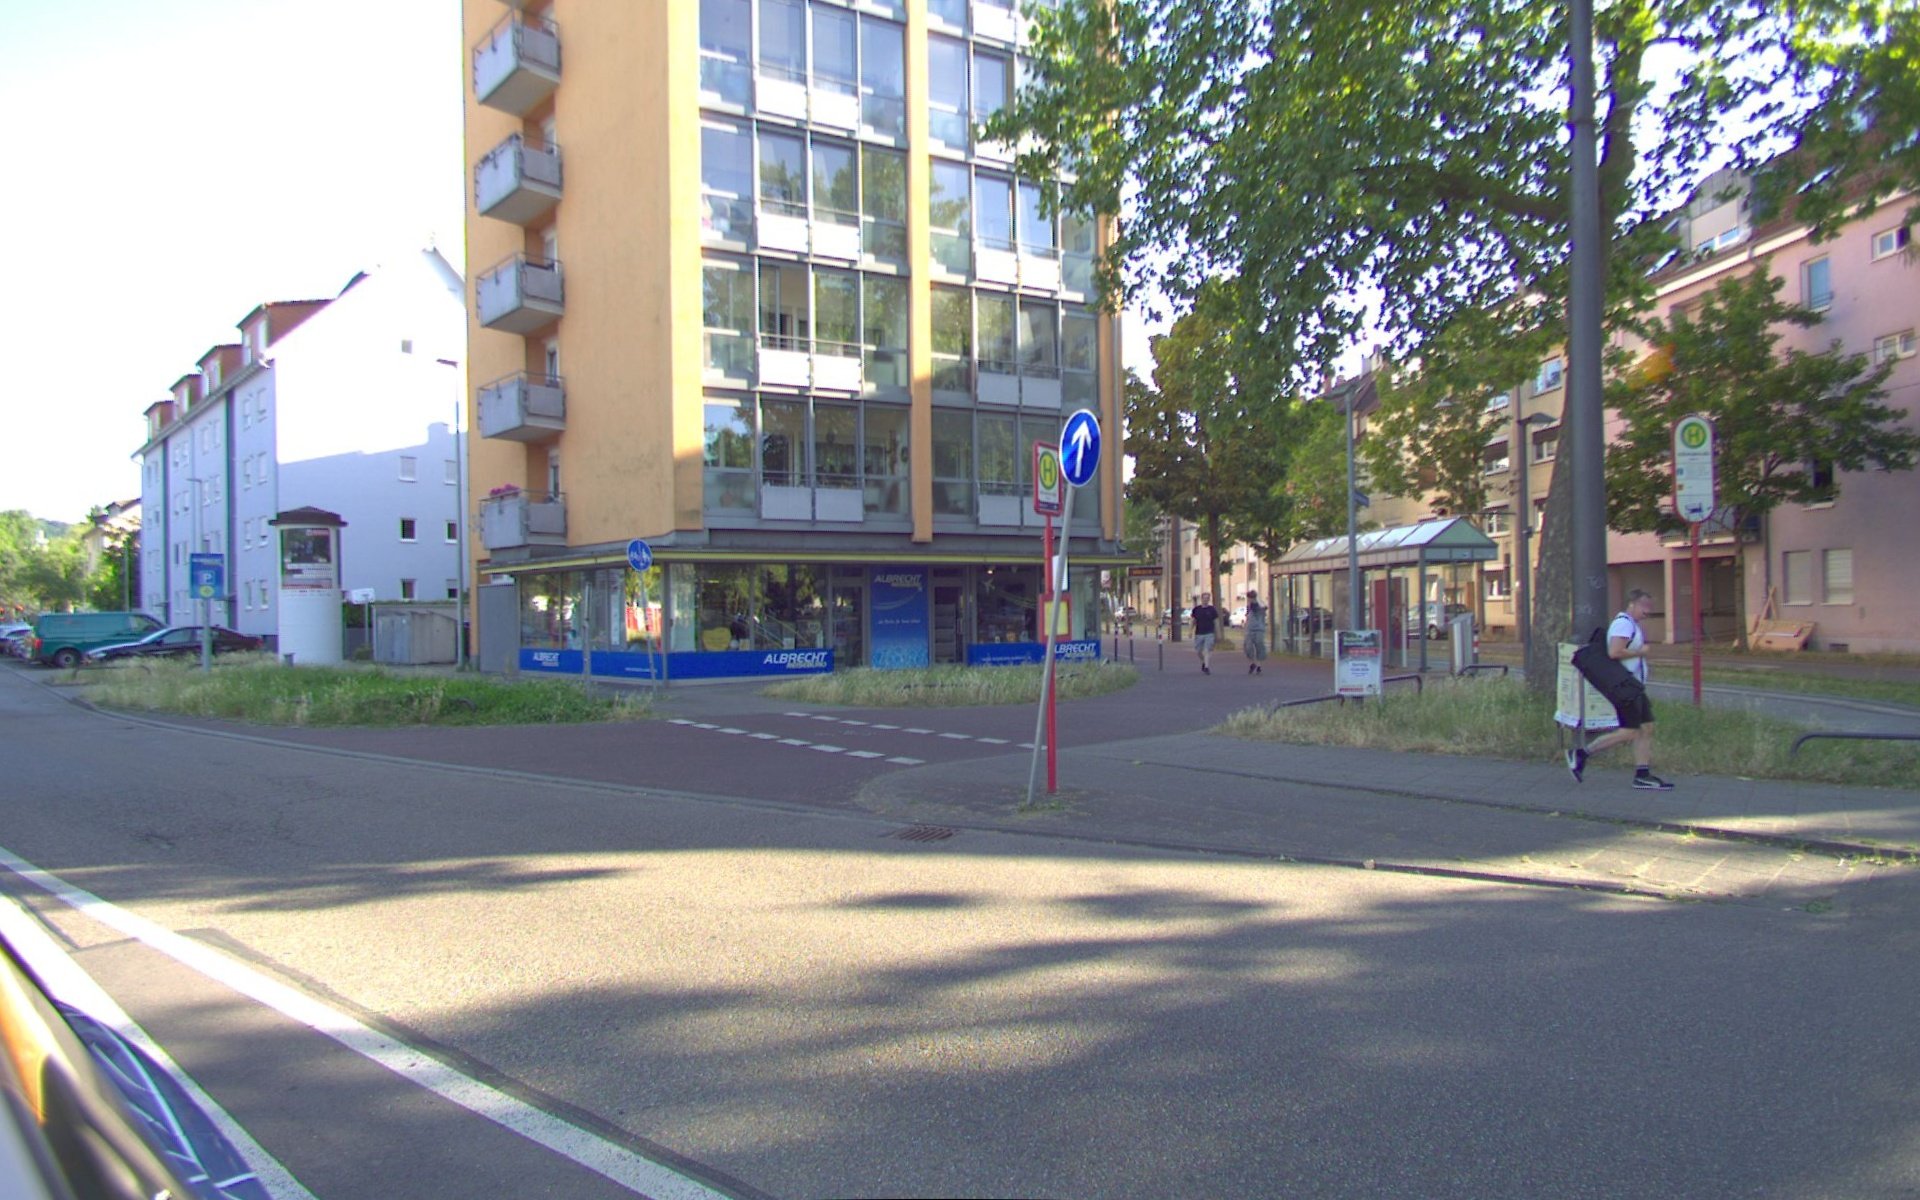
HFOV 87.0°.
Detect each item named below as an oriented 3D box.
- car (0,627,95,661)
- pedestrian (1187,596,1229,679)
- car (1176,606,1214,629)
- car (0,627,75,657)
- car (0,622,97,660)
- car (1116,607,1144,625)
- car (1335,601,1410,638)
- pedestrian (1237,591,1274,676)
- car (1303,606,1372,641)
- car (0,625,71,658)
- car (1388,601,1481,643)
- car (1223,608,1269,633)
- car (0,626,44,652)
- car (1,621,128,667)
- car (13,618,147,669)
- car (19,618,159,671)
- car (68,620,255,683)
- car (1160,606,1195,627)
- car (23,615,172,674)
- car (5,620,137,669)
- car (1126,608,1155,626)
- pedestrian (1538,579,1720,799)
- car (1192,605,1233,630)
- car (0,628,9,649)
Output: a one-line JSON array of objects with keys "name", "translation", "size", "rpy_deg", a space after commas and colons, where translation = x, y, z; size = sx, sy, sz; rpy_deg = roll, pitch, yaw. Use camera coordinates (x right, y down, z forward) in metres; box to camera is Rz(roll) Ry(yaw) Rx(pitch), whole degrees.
[{"name": "car", "translation": [-48.125, 2.270, 52.960], "size": [4.199, 1.585, 1.867], "rpy_deg": [-1, 0, -44]}, {"name": "pedestrian", "translation": [5.379, 0.811, 21.998], "size": [0.803, 1.763, 0.538], "rpy_deg": [-1, 0, 6]}, {"name": "car", "translation": [18.637, 1.351, 80.352], "size": [1.771, 1.719, 4.170], "rpy_deg": [-1, 0, -3]}, {"name": "car", "translation": [-55.664, 2.497, 60.384], "size": [4.199, 1.585, 1.867], "rpy_deg": [-1, 0, -44]}, {"name": "car", "translation": [-46.122, 2.033, 50.869], "size": [4.061, 1.785, 1.758], "rpy_deg": [-1, 0, -44]}, {"name": "car", "translation": [17.730, 1.637, 105.499], "size": [1.911, 1.719, 4.372], "rpy_deg": [-1, 0, -3]}, {"name": "car", "translation": [19.901, 0.918, 48.992], "size": [1.911, 1.719, 3.827], "rpy_deg": [-1, 0, -3]}, {"name": "pedestrian", "translation": [6.227, 0.696, 21.354], "size": [0.622, 1.763, 0.689], "rpy_deg": [-1, 0, 6]}, {"name": "car", "translation": [19.911, 1.203, 53.605], "size": [1.911, 1.719, 4.115], "rpy_deg": [-1, 0, -3]}, {"name": "car", "translation": [-55.798, 2.467, 60.438], "size": [4.016, 1.765, 1.900], "rpy_deg": [-1, 0, -44]}, {"name": "car", "translation": [20.742, 0.908, 44.437], "size": [1.911, 1.719, 4.115], "rpy_deg": [-1, 0, -3]}, {"name": "car", "translation": [19.167, 1.346, 68.057], "size": [1.741, 1.588, 4.049], "rpy_deg": [-1, 0, -3]}, {"name": "car", "translation": [-63.501, 2.597, 66.996], "size": [4.199, 1.585, 1.867], "rpy_deg": [-1, 0, -44]}, {"name": "car", "translation": [-38.832, 1.861, 43.933], "size": [4.016, 1.765, 1.900], "rpy_deg": [-1, 0, -44]}, {"name": "car", "translation": [-35.124, 1.670, 40.437], "size": [3.941, 1.829, 2.001], "rpy_deg": [-1, 0, -44]}, {"name": "car", "translation": [-33.125, 1.645, 38.535], "size": [3.941, 1.829, 2.001], "rpy_deg": [-1, 0, -44]}, {"name": "car", "translation": [-24.276, 1.506, 30.869], "size": [4.361, 1.674, 2.003], "rpy_deg": [-1, 0, -41]}, {"name": "car", "translation": [18.425, 1.393, 85.806], "size": [1.830, 1.719, 4.170], "rpy_deg": [-1, 0, -3]}, {"name": "car", "translation": [-31.219, 1.554, 36.692], "size": [2.001, 1.962, 3.942], "rpy_deg": [-1, 0, 44]}, {"name": "car", "translation": [-36.862, 1.803, 42.015], "size": [4.003, 1.829, 1.938], "rpy_deg": [-1, 0, -44]}, {"name": "car", "translation": [17.777, 1.637, 99.878], "size": [1.911, 1.719, 4.003], "rpy_deg": [-1, 0, -3]}, {"name": "pedestrian", "translation": [5.679, 0.711, 8.670], "size": [1.080, 1.750, 0.897], "rpy_deg": [-1, 0, 19]}, {"name": "car", "translation": [18.699, 1.266, 75.162], "size": [1.808, 1.719, 4.059], "rpy_deg": [-1, 0, -3]}, {"name": "car", "translation": [-74.765, 2.980, 76.965], "size": [3.490, 1.585, 1.867], "rpy_deg": [-1, 0, -44]}]
